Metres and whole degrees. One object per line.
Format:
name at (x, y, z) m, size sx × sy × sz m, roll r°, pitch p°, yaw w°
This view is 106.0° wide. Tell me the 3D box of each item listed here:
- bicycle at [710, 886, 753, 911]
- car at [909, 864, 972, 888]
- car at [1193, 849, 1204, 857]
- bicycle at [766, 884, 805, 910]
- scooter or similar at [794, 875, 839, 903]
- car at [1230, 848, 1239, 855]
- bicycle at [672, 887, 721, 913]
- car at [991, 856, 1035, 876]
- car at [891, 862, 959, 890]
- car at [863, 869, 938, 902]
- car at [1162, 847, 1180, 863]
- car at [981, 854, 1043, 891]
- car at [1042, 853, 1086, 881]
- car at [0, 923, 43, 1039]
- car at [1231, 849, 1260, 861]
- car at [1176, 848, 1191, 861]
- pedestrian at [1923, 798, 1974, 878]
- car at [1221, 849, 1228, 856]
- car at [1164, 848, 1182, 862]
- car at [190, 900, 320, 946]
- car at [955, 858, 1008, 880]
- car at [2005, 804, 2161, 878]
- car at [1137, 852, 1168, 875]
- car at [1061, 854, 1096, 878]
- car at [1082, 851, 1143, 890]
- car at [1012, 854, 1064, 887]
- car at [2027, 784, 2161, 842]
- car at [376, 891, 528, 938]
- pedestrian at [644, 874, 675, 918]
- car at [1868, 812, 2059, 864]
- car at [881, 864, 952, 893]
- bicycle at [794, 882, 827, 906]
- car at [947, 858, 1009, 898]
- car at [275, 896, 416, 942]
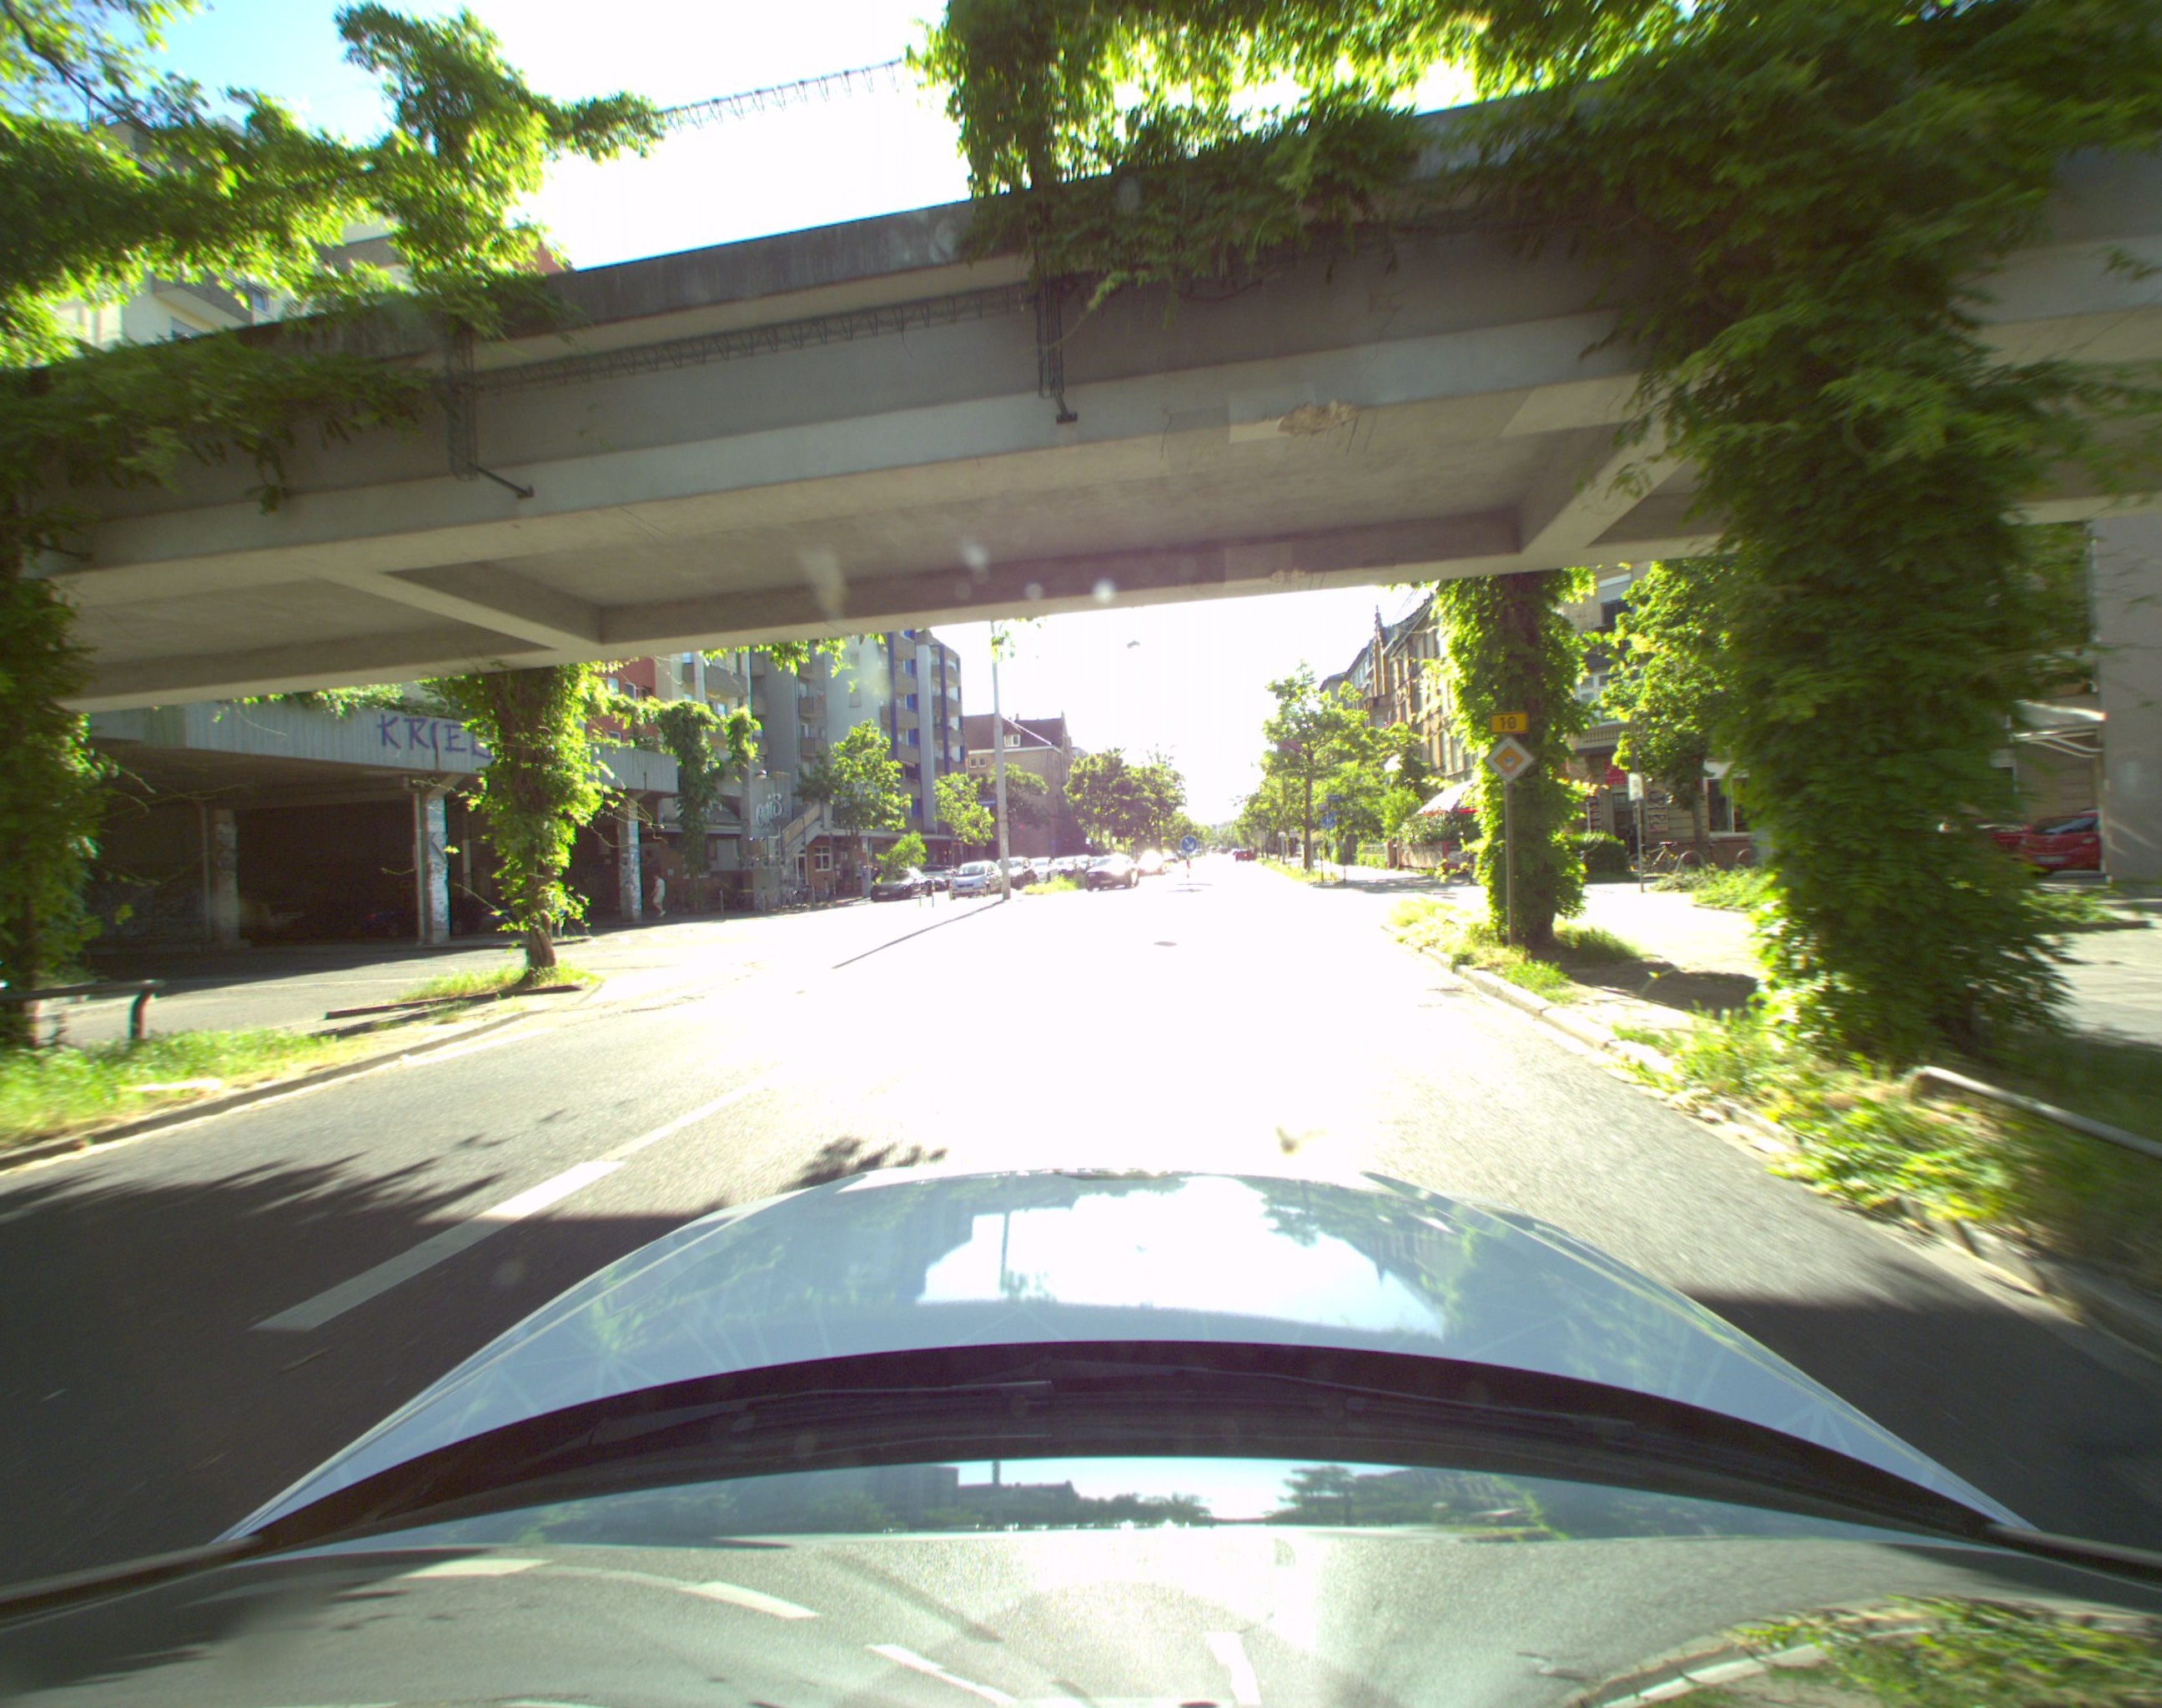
bicycle at (-15.111, 1.906, 35.261) m, size 1.614 × 1.001 × 0.413 m, roll -2°, pitch 1°, yaw -13°
car at (-9.782, 1.551, 56.860) m, size 3.966 × 1.424 × 1.691 m, roll -3°, pitch 0°, yaw 6°
car at (27.248, -0.245, 188.427) m, size 1.980 × 1.695 × 4.014 m, roll -4°, pitch 0°, yaw 13°
bicycle at (-13.021, 1.872, 35.880) m, size 0.410 × 1.031 × 1.813 m, roll 0°, pitch 1°, yaw 27°
scooter or similar at (-13.173, 1.740, 40.557) m, size 1.957 × 1.277 × 0.632 m, roll -3°, pitch 0°, yaw 5°
car at (36.797, -0.630, 195.579) m, size 1.938 × 1.708 × 4.013 m, roll -3°, pitch 0°, yaw 11°
bicycle at (-16.261, 1.952, 34.461) m, size 1.789 × 1.001 × 0.485 m, roll -3°, pitch 1°, yaw 2°
car at (-6.576, 1.152, 79.123) m, size 3.966 × 1.629 × 1.691 m, roll -3°, pitch 0°, yaw 6°
car at (-10.404, 1.466, 54.346) m, size 3.966 × 1.607 × 1.845 m, roll -3°, pitch 0°, yaw 6°
car at (-9.083, 1.559, 41.458) m, size 1.878 × 1.398 × 4.545 m, roll -4°, pitch 0°, yaw 13°
car at (12.586, 0.162, 113.664) m, size 1.980 × 2.013 × 4.220 m, roll -4°, pitch 0°, yaw 13°
car at (-3.387, 0.879, 40.932) m, size 1.856 × 1.627 × 4.519 m, roll -4°, pitch 0°, yaw 11°
car at (-1.085, 0.835, 53.373) m, size 1.850 × 1.587 × 4.014 m, roll -4°, pitch 0°, yaw 13°
car at (-15.185, 1.732, 9.350) m, size 1.596 × 1.486 × 3.658 m, roll -3°, pitch 0°, yaw 10°
car at (19.546, 0.131, 96.655) m, size 1.780 × 1.223 × 4.026 m, roll -3°, pitch 0°, yaw 35°
car at (17.762, 0.047, 140.330) m, size 2.047 × 2.013 × 4.645 m, roll -4°, pitch 0°, yaw 12°
pedestrian at (17.795, -0.329, 16.711) m, size 0.524 × 1.576 × 0.638 m, roll -3°, pitch 0°, yaw 35°
car at (39.813, -0.435, 225.313) m, size 1.746 × 1.783 × 4.013 m, roll -3°, pitch 0°, yaw 11°
car at (13.544, 0.135, 119.460) m, size 1.980 × 2.013 × 4.220 m, roll -4°, pitch 0°, yaw 12°
car at (-32.359, 2.700, 31.955) m, size 3.608 × 1.487 × 1.611 m, roll -3°, pitch 0°, yaw 5°
car at (-8.165, 1.215, 67.156) m, size 3.966 × 1.629 × 1.691 m, roll -3°, pitch 0°, yaw 6°
car at (23.320, -0.338, 17.929) m, size 3.973 × 1.462 × 1.693 m, roll -3°, pitch 0°, yaw 1°
car at (4.829, 0.609, 54.621) m, size 1.641 × 1.428 × 3.517 m, roll -3°, pitch 0°, yaw 10°
car at (-0.150, 0.844, 59.608) m, size 1.740 × 1.553 × 4.012 m, roll -4°, pitch 0°, yaw 10°
car at (1.458, 0.658, 35.352) m, size 1.854 × 1.458 × 4.607 m, roll -4°, pitch 0°, yaw 11°
car at (-2.411, 0.900, 47.171) m, size 1.877 × 1.662 × 4.543 m, roll -5°, pitch 0°, yaw 10°
car at (31.691, -1.239, 24.730) m, size 3.975 × 1.595 × 1.694 m, roll -2°, pitch 0°, yaw -1°
car at (-23.129, 2.214, 30.011) m, size 4.561 × 1.433 × 1.863 m, roll -3°, pitch -2°, yaw 12°
pedestrian at (-16.858, 1.669, 32.563) m, size 0.751 × 1.699 × 0.798 m, roll -1°, pitch 0°, yaw 9°
car at (27.033, -0.513, 25.045) m, size 3.975 × 1.440 × 1.779 m, roll -1°, pitch 3°, yaw -1°
car at (-10.442, 1.553, 51.838) m, size 3.966 × 1.551 × 1.773 m, roll -3°, pitch 0°, yaw 6°
bicycle at (-12.553, 1.833, 37.843) m, size 0.410 × 1.001 × 1.811 m, roll 0°, pitch 1°, yaw 20°
car at (-4.450, 1.002, 35.539) m, size 1.710 × 1.518 × 3.540 m, roll -4°, pitch 0°, yaw 8°
car at (-27.895, 2.453, 30.956) m, size 4.026 × 1.410 × 1.772 m, roll -3°, pitch 0°, yaw 9°
